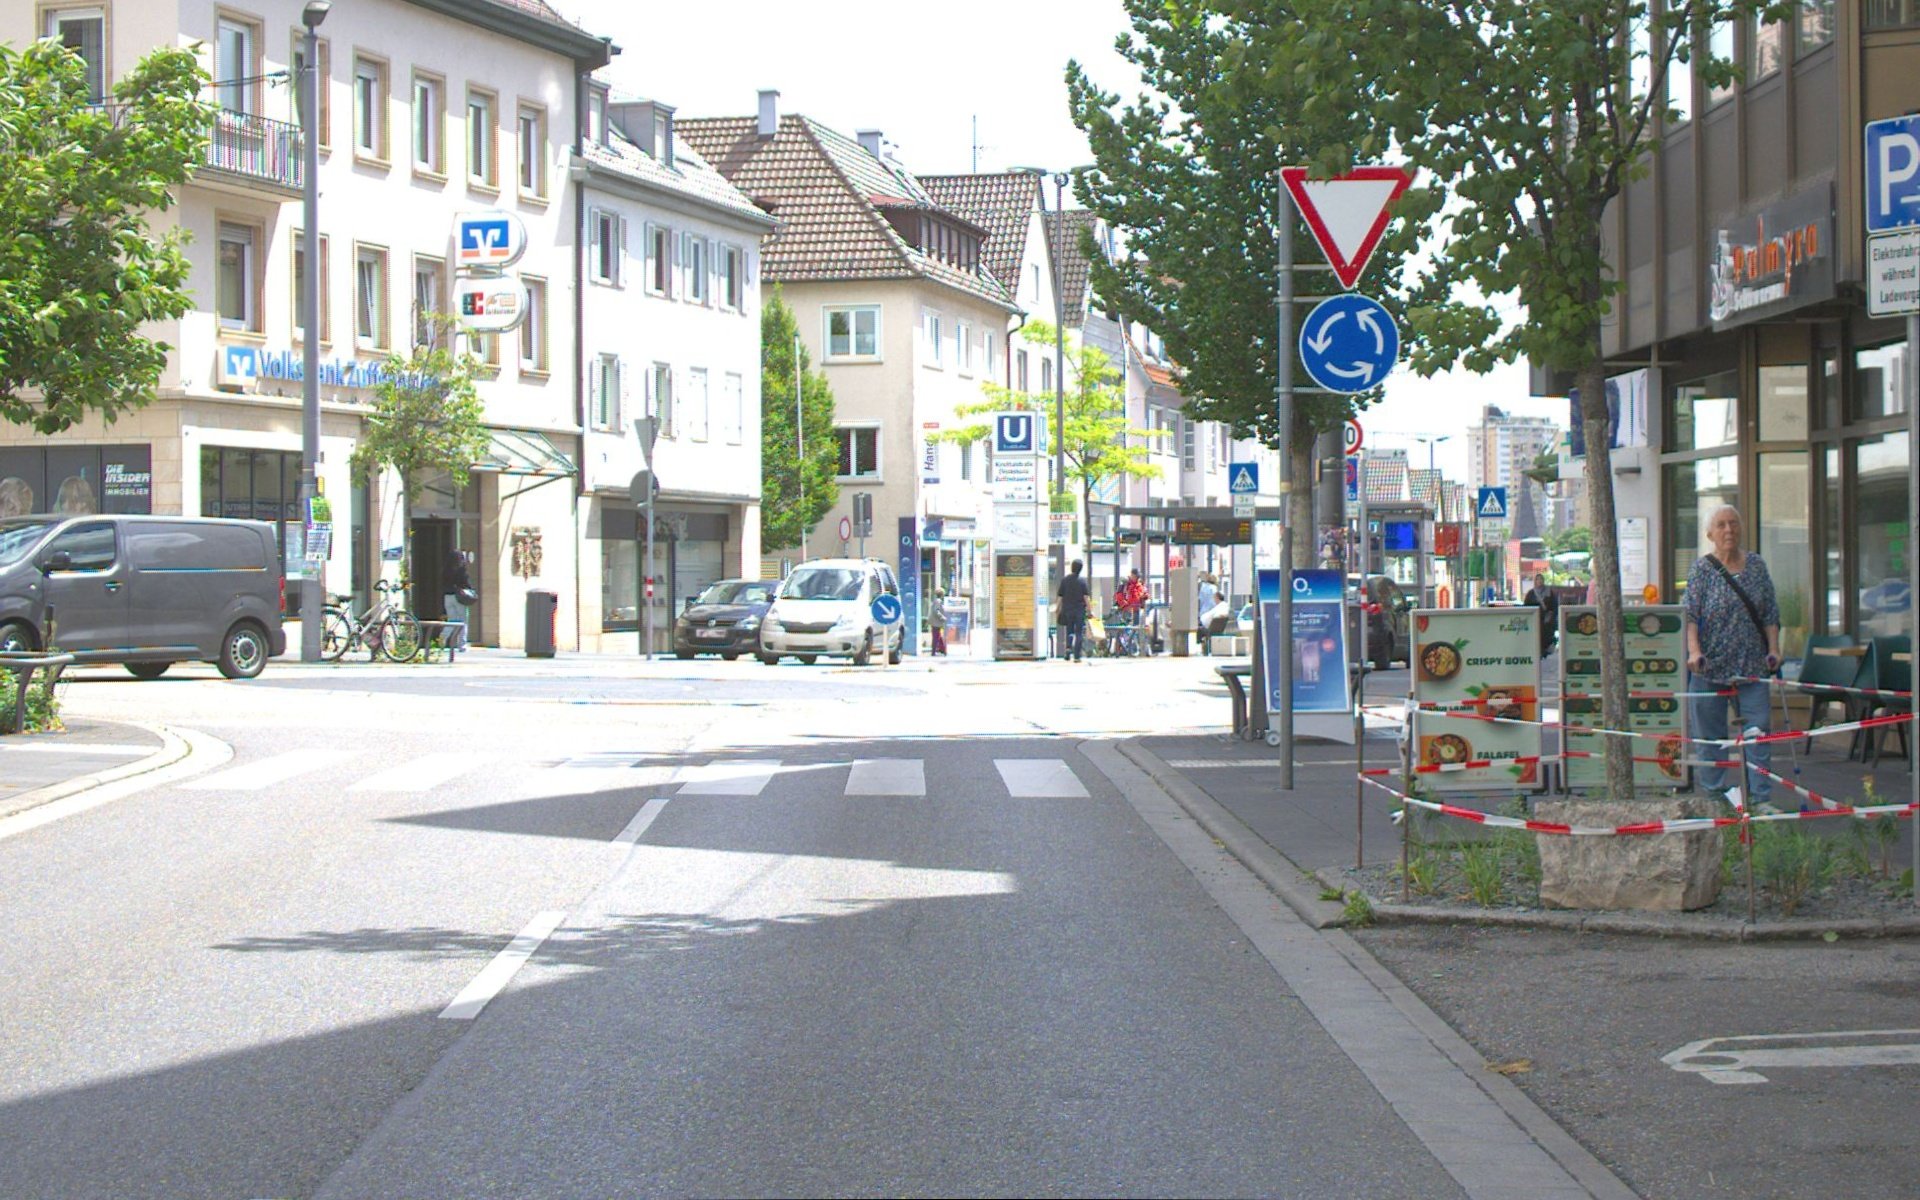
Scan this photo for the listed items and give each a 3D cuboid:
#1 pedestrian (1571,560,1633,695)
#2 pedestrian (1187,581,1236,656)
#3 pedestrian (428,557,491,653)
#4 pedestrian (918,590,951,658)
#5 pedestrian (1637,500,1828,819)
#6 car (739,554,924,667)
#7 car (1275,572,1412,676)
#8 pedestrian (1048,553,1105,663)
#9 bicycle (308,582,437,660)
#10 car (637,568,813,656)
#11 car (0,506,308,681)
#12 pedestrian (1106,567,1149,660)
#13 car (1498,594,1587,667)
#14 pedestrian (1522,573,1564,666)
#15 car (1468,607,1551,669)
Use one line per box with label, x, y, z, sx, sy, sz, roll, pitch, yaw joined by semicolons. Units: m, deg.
pedestrian;8.113;0.340;43.467;0.621;1.684;0.652;1;0;-1
pedestrian;5.359;0.388;73.182;0.729;1.574;0.747;1;1;37
pedestrian;-8.105;0.078;55.649;0.627;1.527;0.857;1;0;23
pedestrian;-0.607;0.564;81.711;0.692;1.605;0.644;1;0;-5
pedestrian;4.017;0.302;17.926;0.784;1.610;0.800;1;0;-1
car;-1.982;0.154;54.328;1.994;1.683;3.998;1;0;12
car;5.980;0.355;53.386;1.698;1.525;3.469;1;0;13
pedestrian;1.844;0.123;54.255;0.869;1.702;0.530;1;0;2
bicycle;-8.074;0.287;47.254;1.633;1.027;0.567;1;0;15
car;-4.056;0.202;60.025;1.995;1.448;3.998;1;0;12
car;-9.824;-0.073;38.137;2.045;1.842;4.988;1;0;37
pedestrian;3.220;0.256;65.907;0.727;1.757;0.748;1;1;10
car;12.764;0.639;75.199;1.698;1.525;3.469;1;0;13
pedestrian;10.628;0.351;62.686;0.621;1.684;0.652;1;0;-1
car;15.341;1.038;96.146;1.949;1.634;3.999;1;0;5
